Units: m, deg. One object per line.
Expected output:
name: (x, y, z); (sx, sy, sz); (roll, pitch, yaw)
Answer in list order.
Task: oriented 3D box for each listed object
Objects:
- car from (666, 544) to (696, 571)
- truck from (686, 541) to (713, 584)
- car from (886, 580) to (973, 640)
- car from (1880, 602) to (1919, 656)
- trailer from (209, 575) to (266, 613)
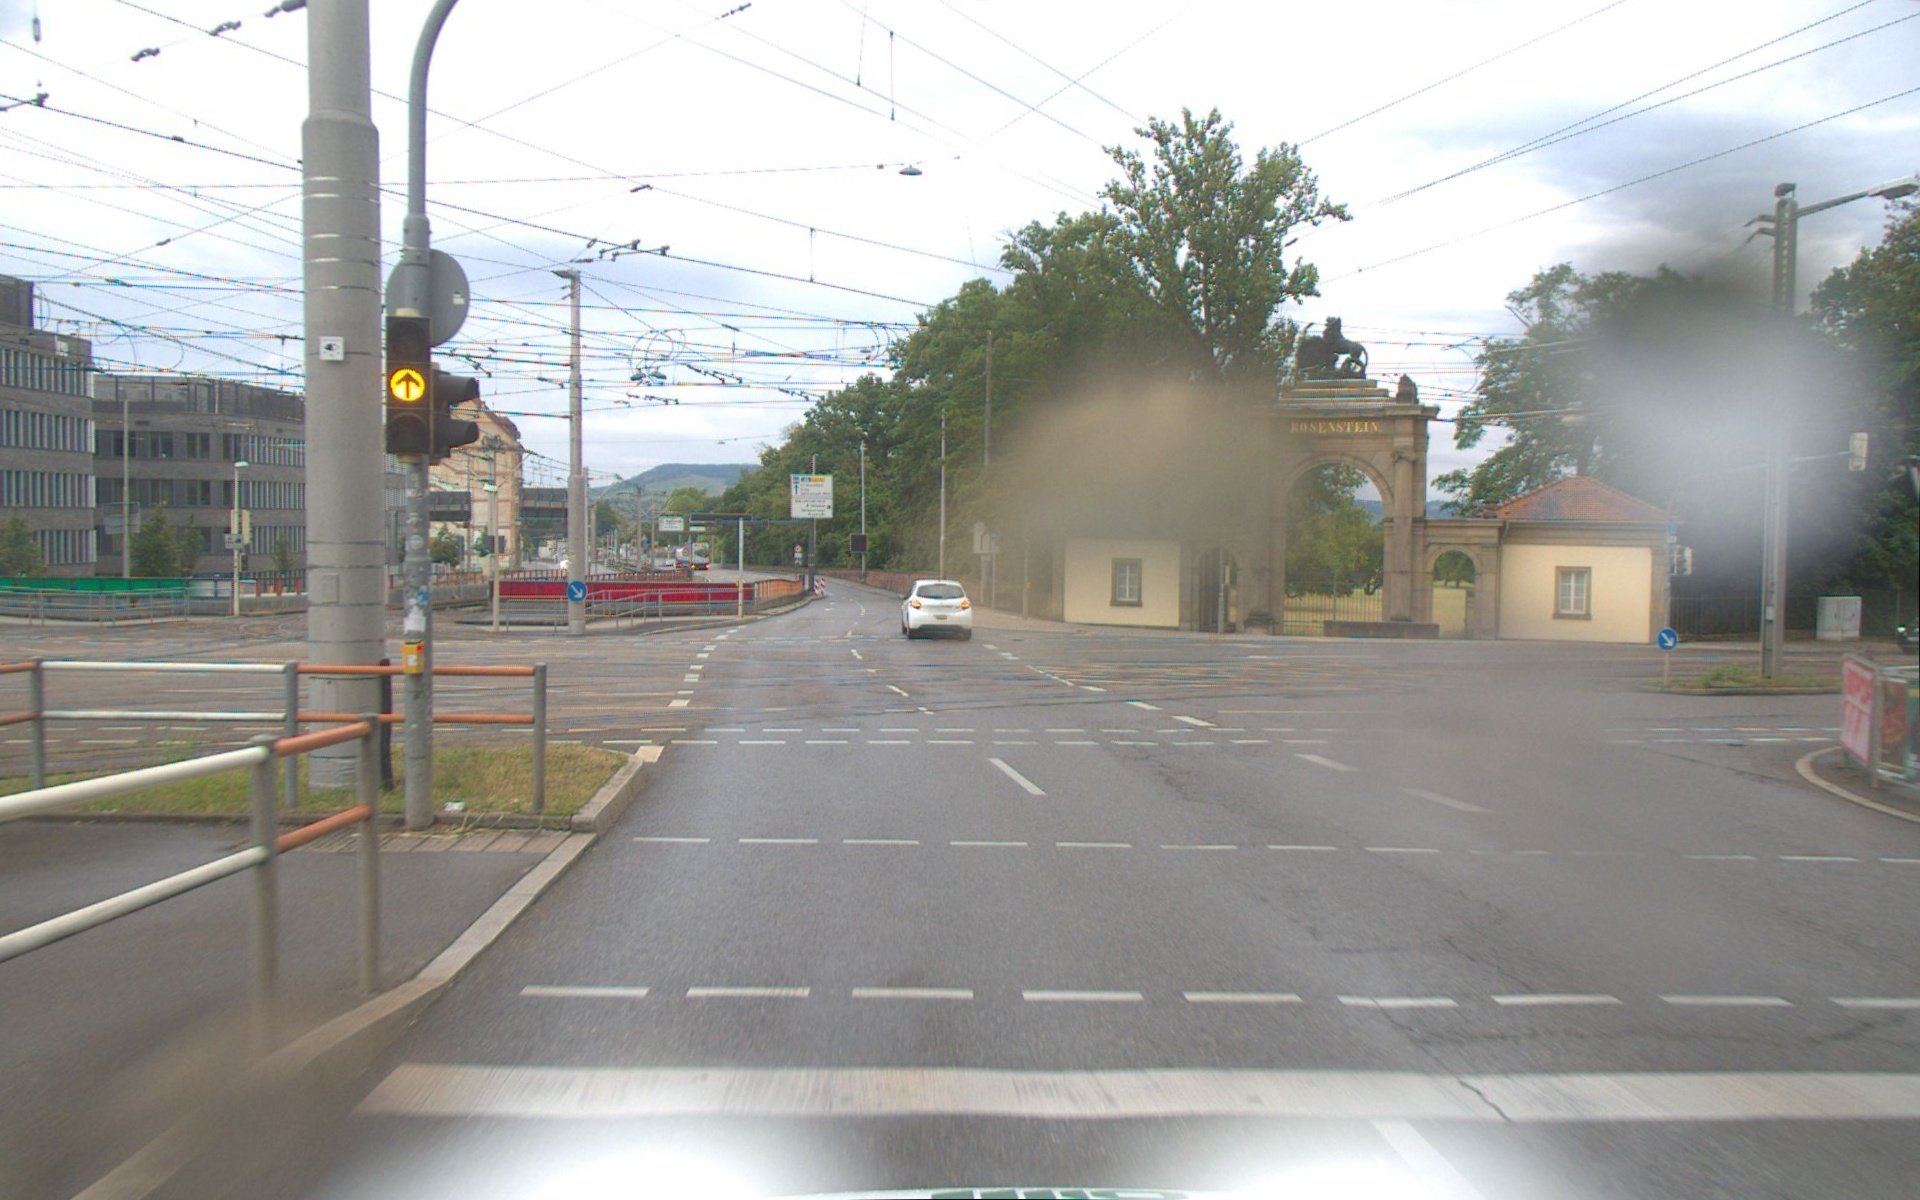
car: (-21.086, -3.201, 124.852); (1.959, 1.905, 3.987); (-1, 1, -13)
truck: (-37.721, -5.356, 239.434); (3.403, 5.496, 12.016); (0, -2, -11)
car: (-0.856, 0.302, 43.640); (1.918, 1.514, 3.993); (0, -2, -7)
car: (32.669, 0.972, 54.571); (4.193, 1.765, 1.984); (1, -2, -25)
trailer: (-42.712, -0.315, 97.832); (1.789, 2.111, 4.269); (0, -2, -5)
